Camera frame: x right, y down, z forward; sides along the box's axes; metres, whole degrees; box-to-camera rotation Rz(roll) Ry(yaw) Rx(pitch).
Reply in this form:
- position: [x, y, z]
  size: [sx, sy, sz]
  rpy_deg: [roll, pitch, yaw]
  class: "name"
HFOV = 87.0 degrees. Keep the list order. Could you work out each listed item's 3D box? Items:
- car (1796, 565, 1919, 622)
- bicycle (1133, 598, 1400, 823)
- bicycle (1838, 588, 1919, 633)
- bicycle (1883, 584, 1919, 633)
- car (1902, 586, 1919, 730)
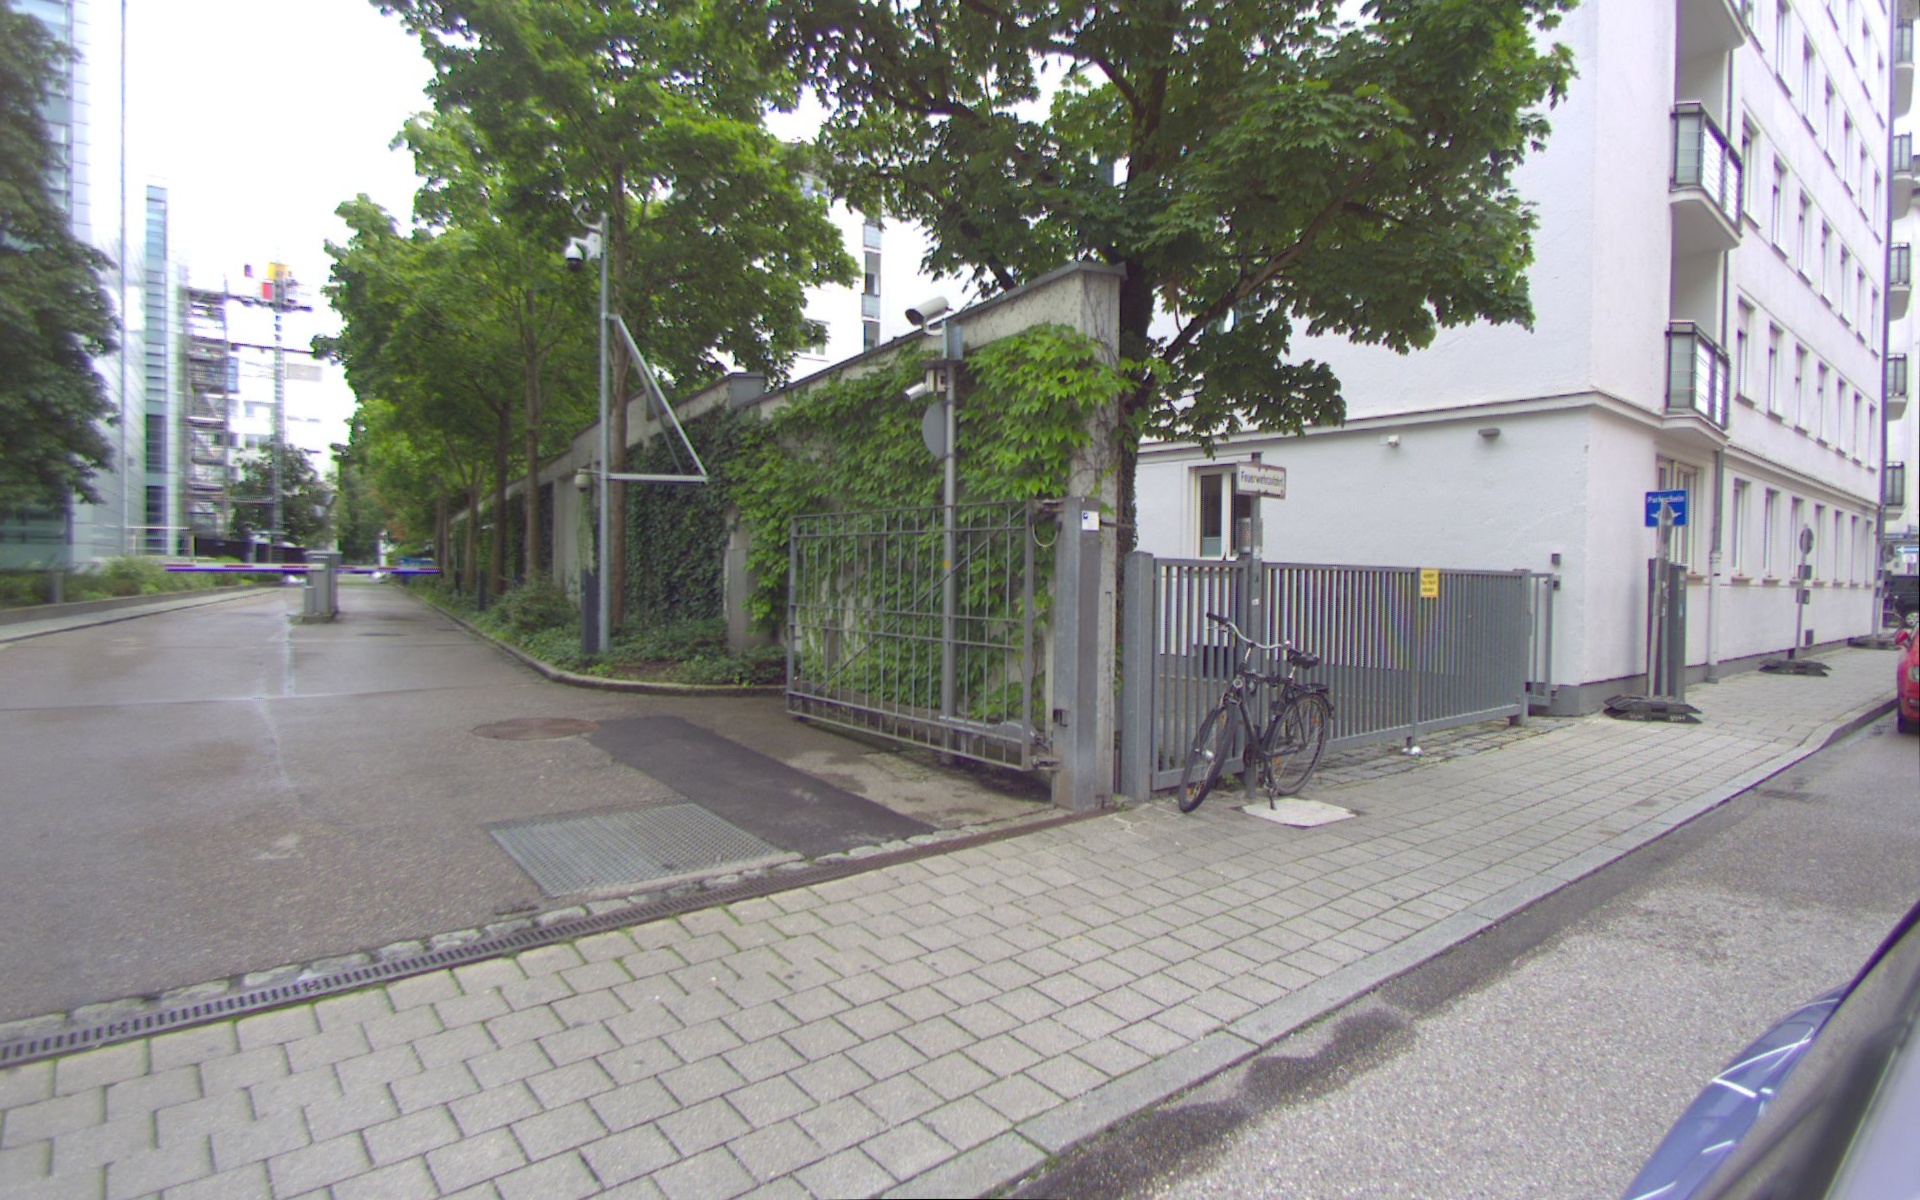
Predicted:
- position: [32.982, -0.245, 35.950]
  size: [1.895, 1.914, 4.687]
  rpy_deg: [1, 2, -32]
  class: "car"
- position: [1.983, 0.644, 6.413]
  size: [1.801, 1.213, 0.709]
  rpy_deg: [3, -1, -40]
  class: "bicycle"
- position: [23.964, 0.259, 26.389]
  size: [1.490, 1.056, 0.395]
  rpy_deg: [4, 4, 32]
  class: "bicycle"
- position: [25.539, 0.218, 27.337]
  size: [0.395, 1.219, 1.494]
  rpy_deg: [3, 4, 24]
  class: "bicycle"
- position: [11.817, 0.576, 11.389]
  size: [1.760, 1.465, 4.232]
  rpy_deg: [0, 1, 43]
  class: "car"
